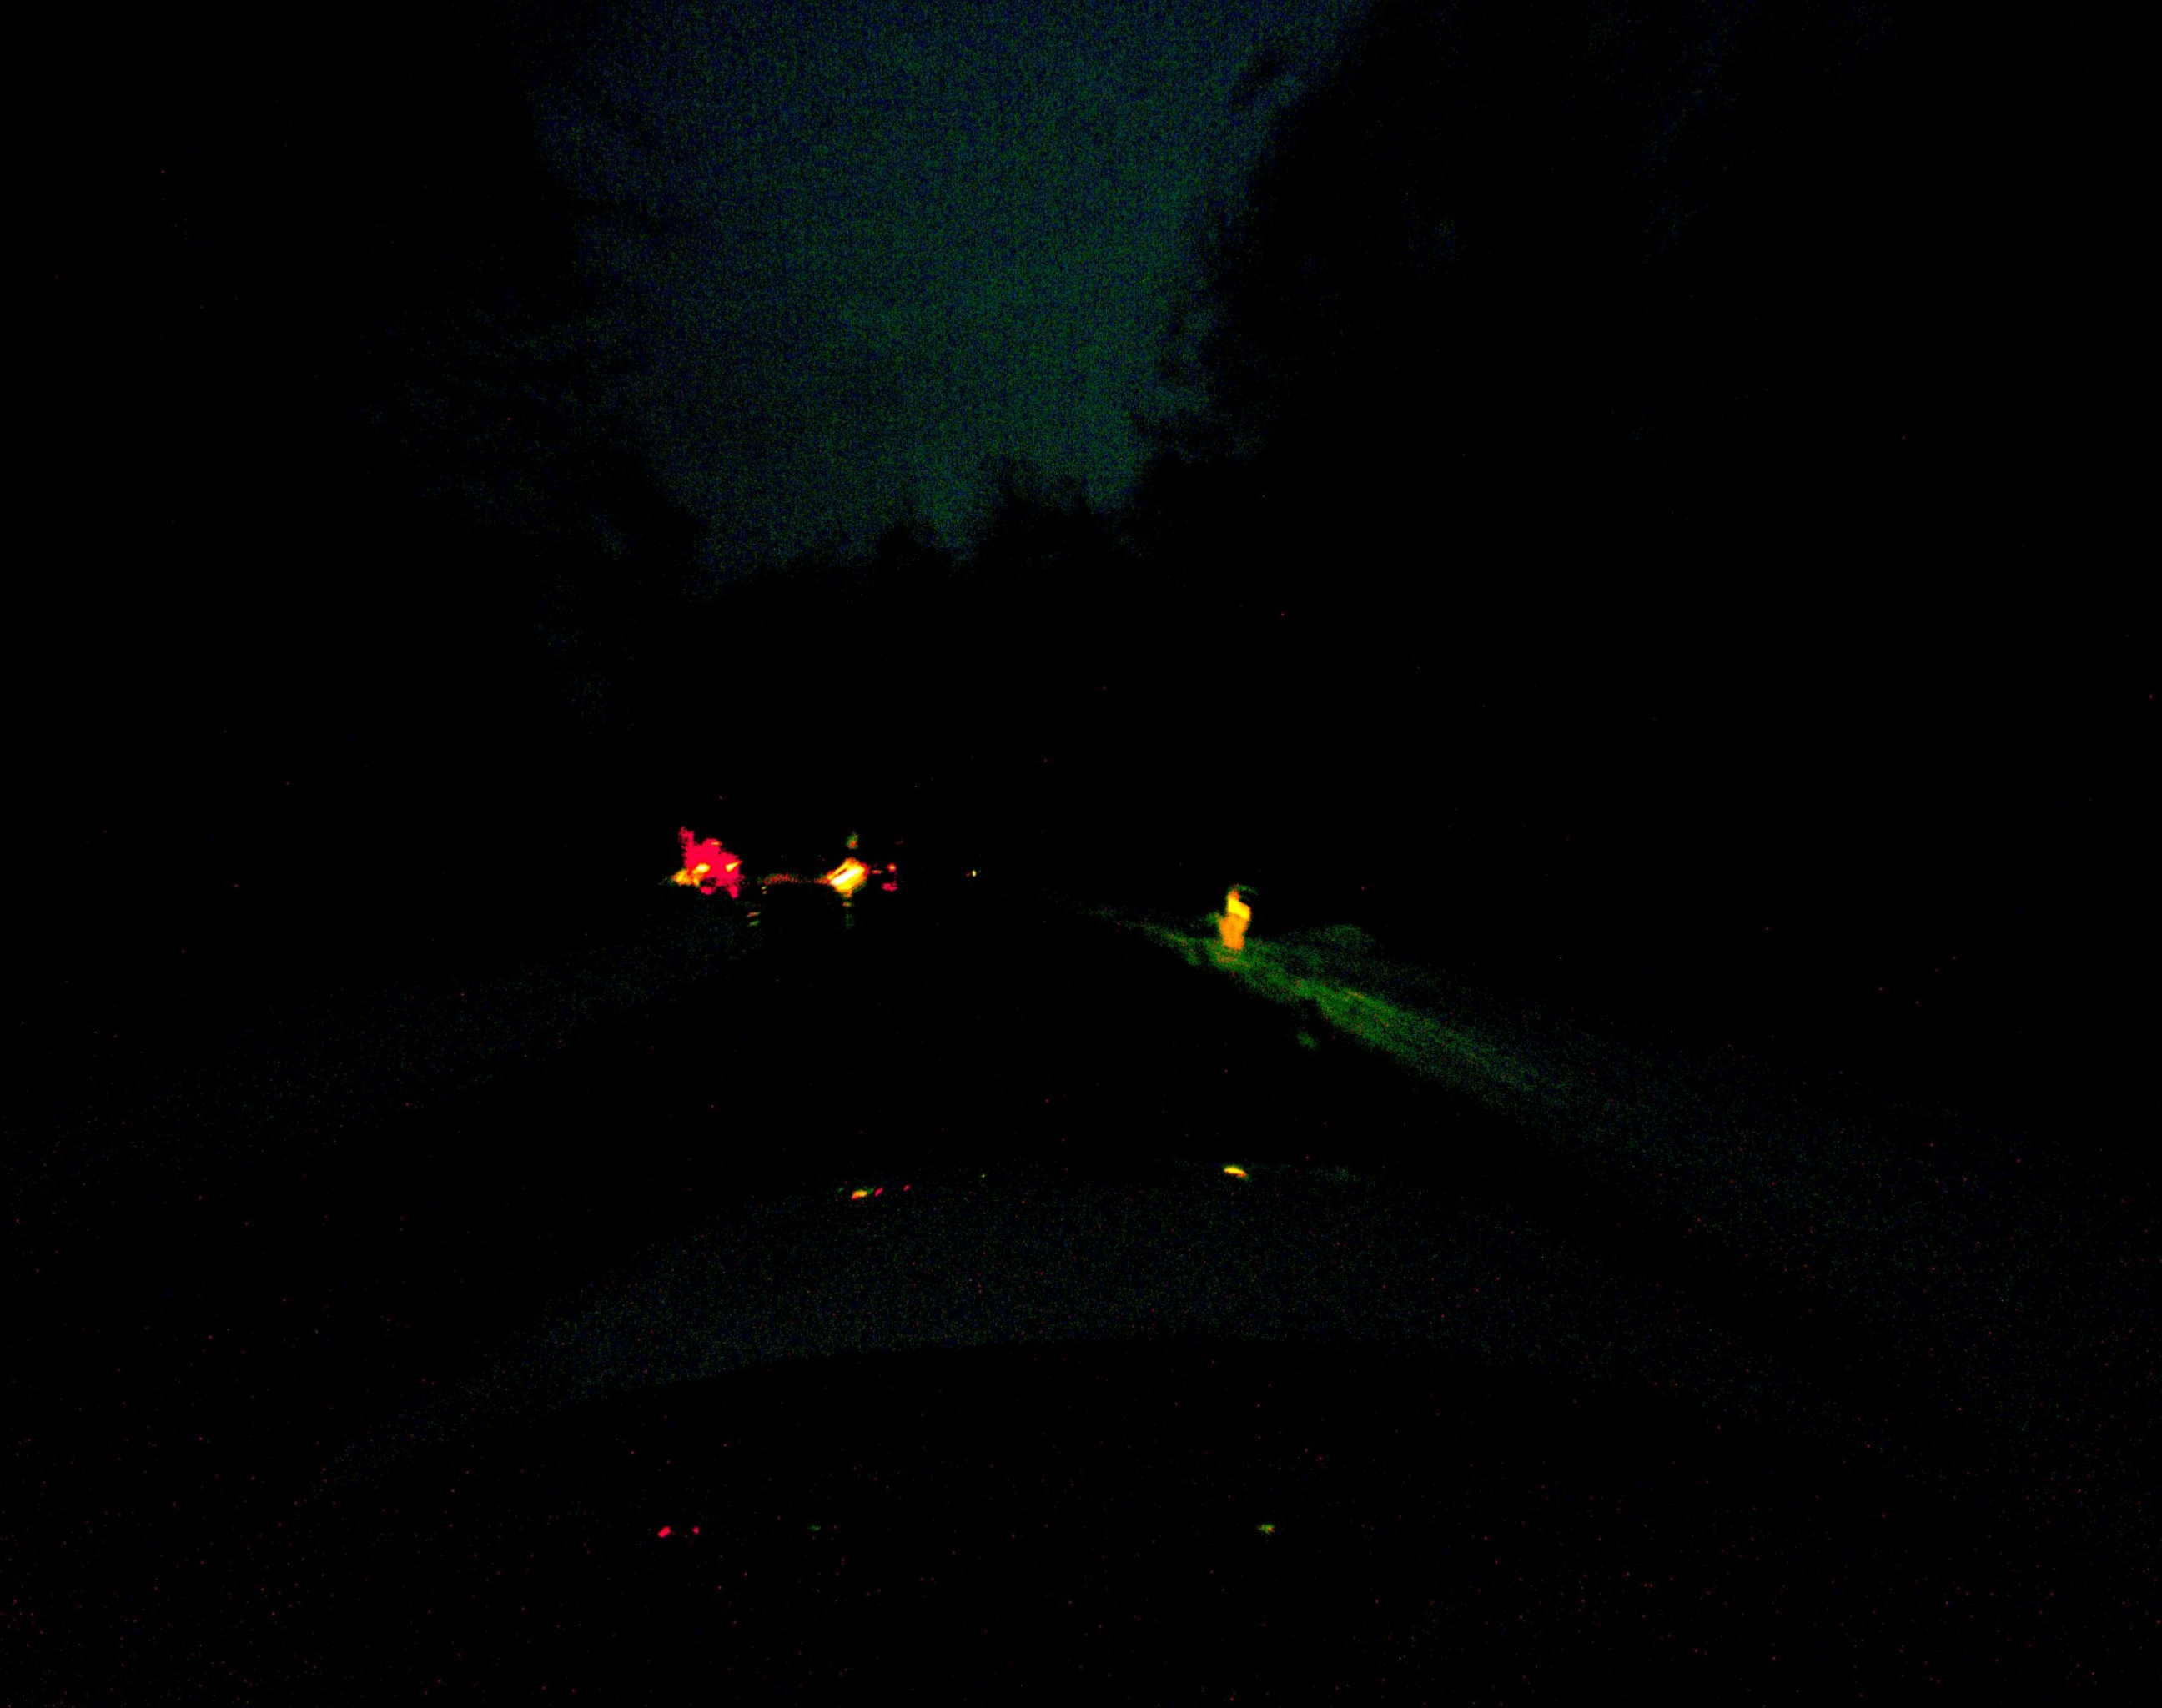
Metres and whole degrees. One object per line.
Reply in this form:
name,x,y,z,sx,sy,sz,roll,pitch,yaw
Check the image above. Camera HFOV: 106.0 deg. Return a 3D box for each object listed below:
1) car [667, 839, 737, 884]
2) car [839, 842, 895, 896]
car,-24.149,0.512,51.830,4.943,2.645,2.273,-2,1,44
car,-9.348,0.630,35.353,2.000,2.051,3.975,-4,0,-19
